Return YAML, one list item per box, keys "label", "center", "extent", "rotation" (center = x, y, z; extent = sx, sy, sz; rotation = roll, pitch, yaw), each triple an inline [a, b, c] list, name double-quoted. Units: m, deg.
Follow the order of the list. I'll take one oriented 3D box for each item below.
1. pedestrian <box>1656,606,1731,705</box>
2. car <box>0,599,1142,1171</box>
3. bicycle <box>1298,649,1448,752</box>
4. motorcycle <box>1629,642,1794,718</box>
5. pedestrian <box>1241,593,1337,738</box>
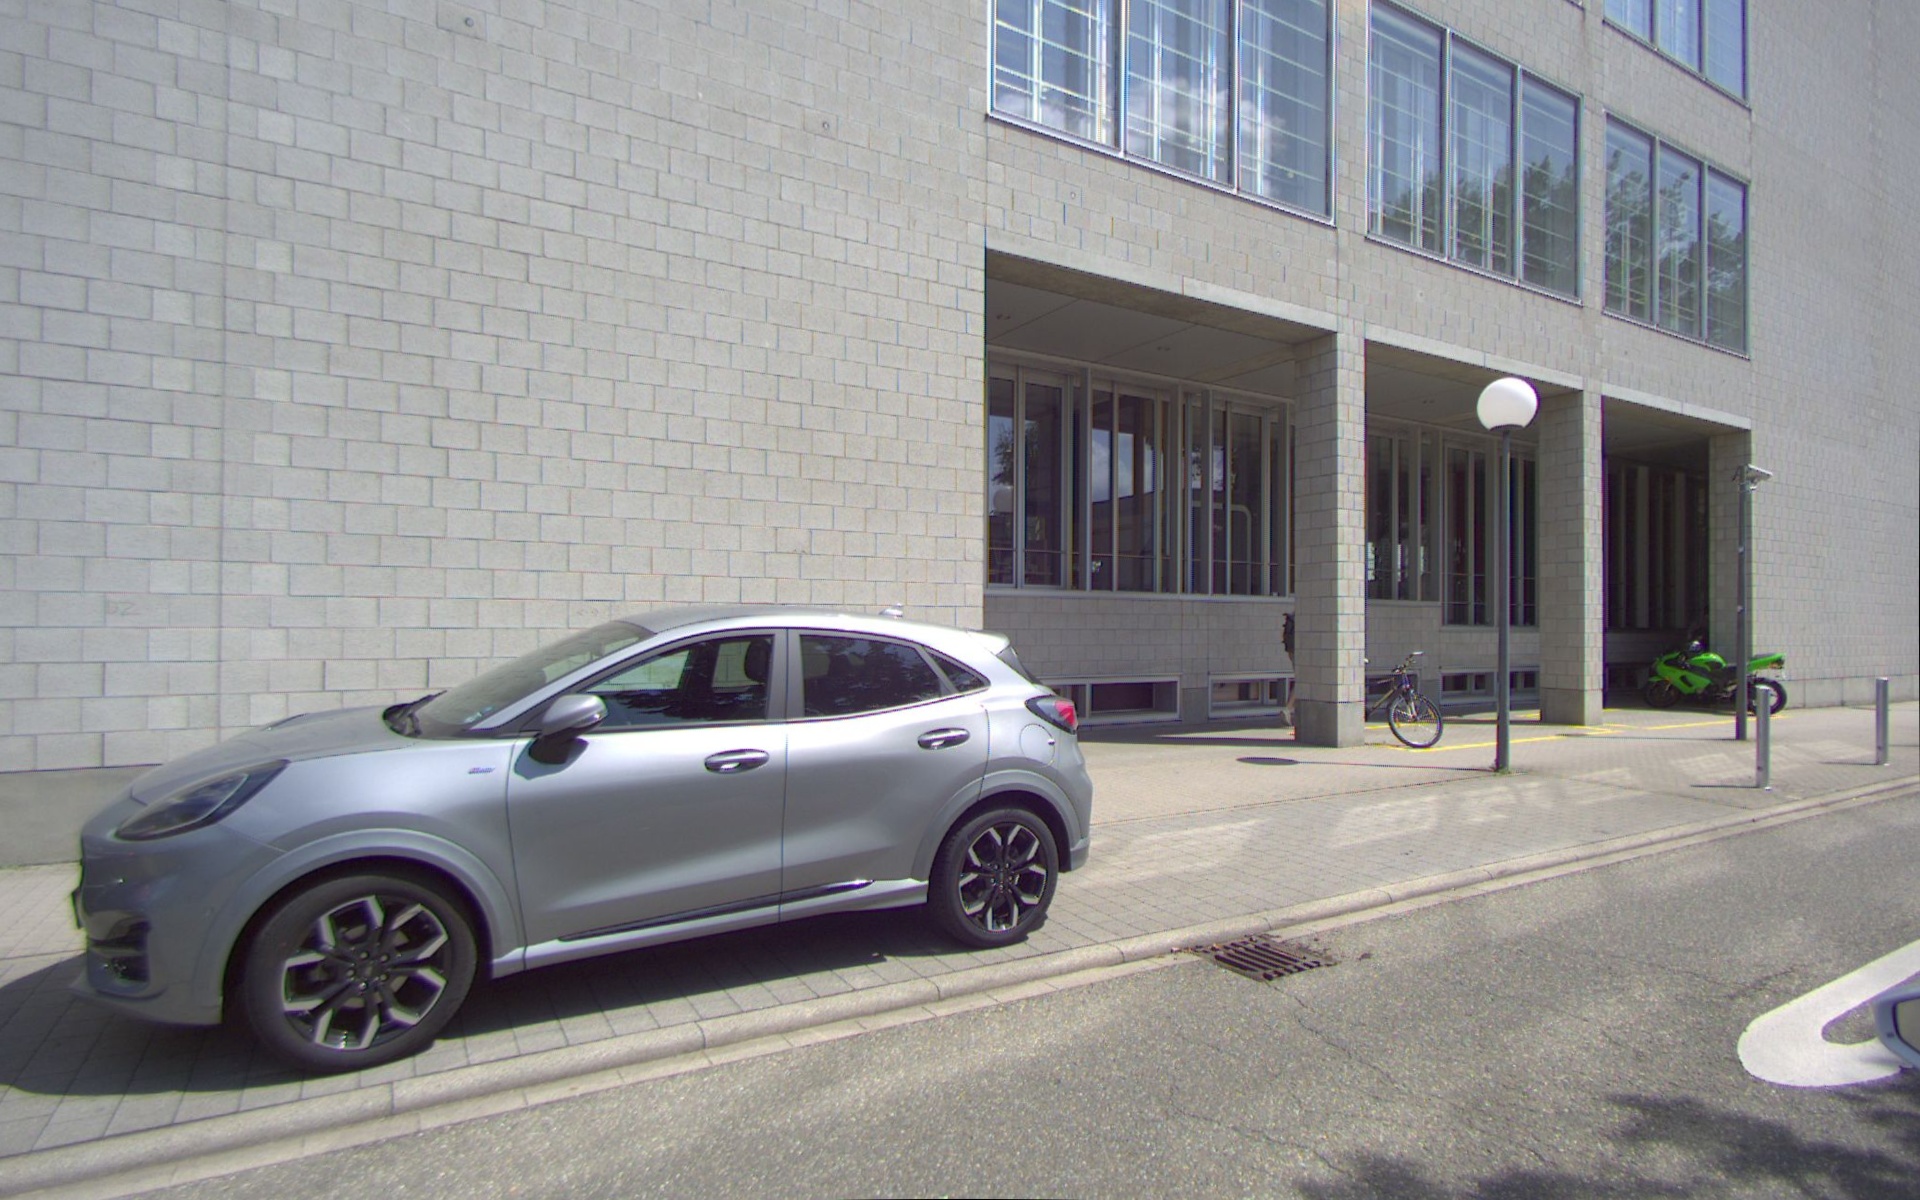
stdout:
- label: "pedestrian"
  center: [13.912, 1.046, 19.061]
  extent: [0.914, 1.828, 0.798]
  rotation: [1, -3, -31]
- label: "car"
  center: [-1.428, 0.857, 4.523]
  extent: [4.355, 1.555, 1.717]
  rotation: [2, 0, -31]
- label: "bicycle"
  center: [5.021, 1.188, 12.307]
  extent: [0.602, 1.101, 1.627]
  rotation: [1, -1, -35]
- label: "motorcycle"
  center: [12.726, 1.317, 17.073]
  extent: [0.769, 1.153, 2.147]
  rotation: [1, -1, -40]
- label: "pedestrian"
  center: [4.443, 0.859, 13.584]
  extent: [1.003, 1.863, 0.773]
  rotation: [1, -1, -32]
